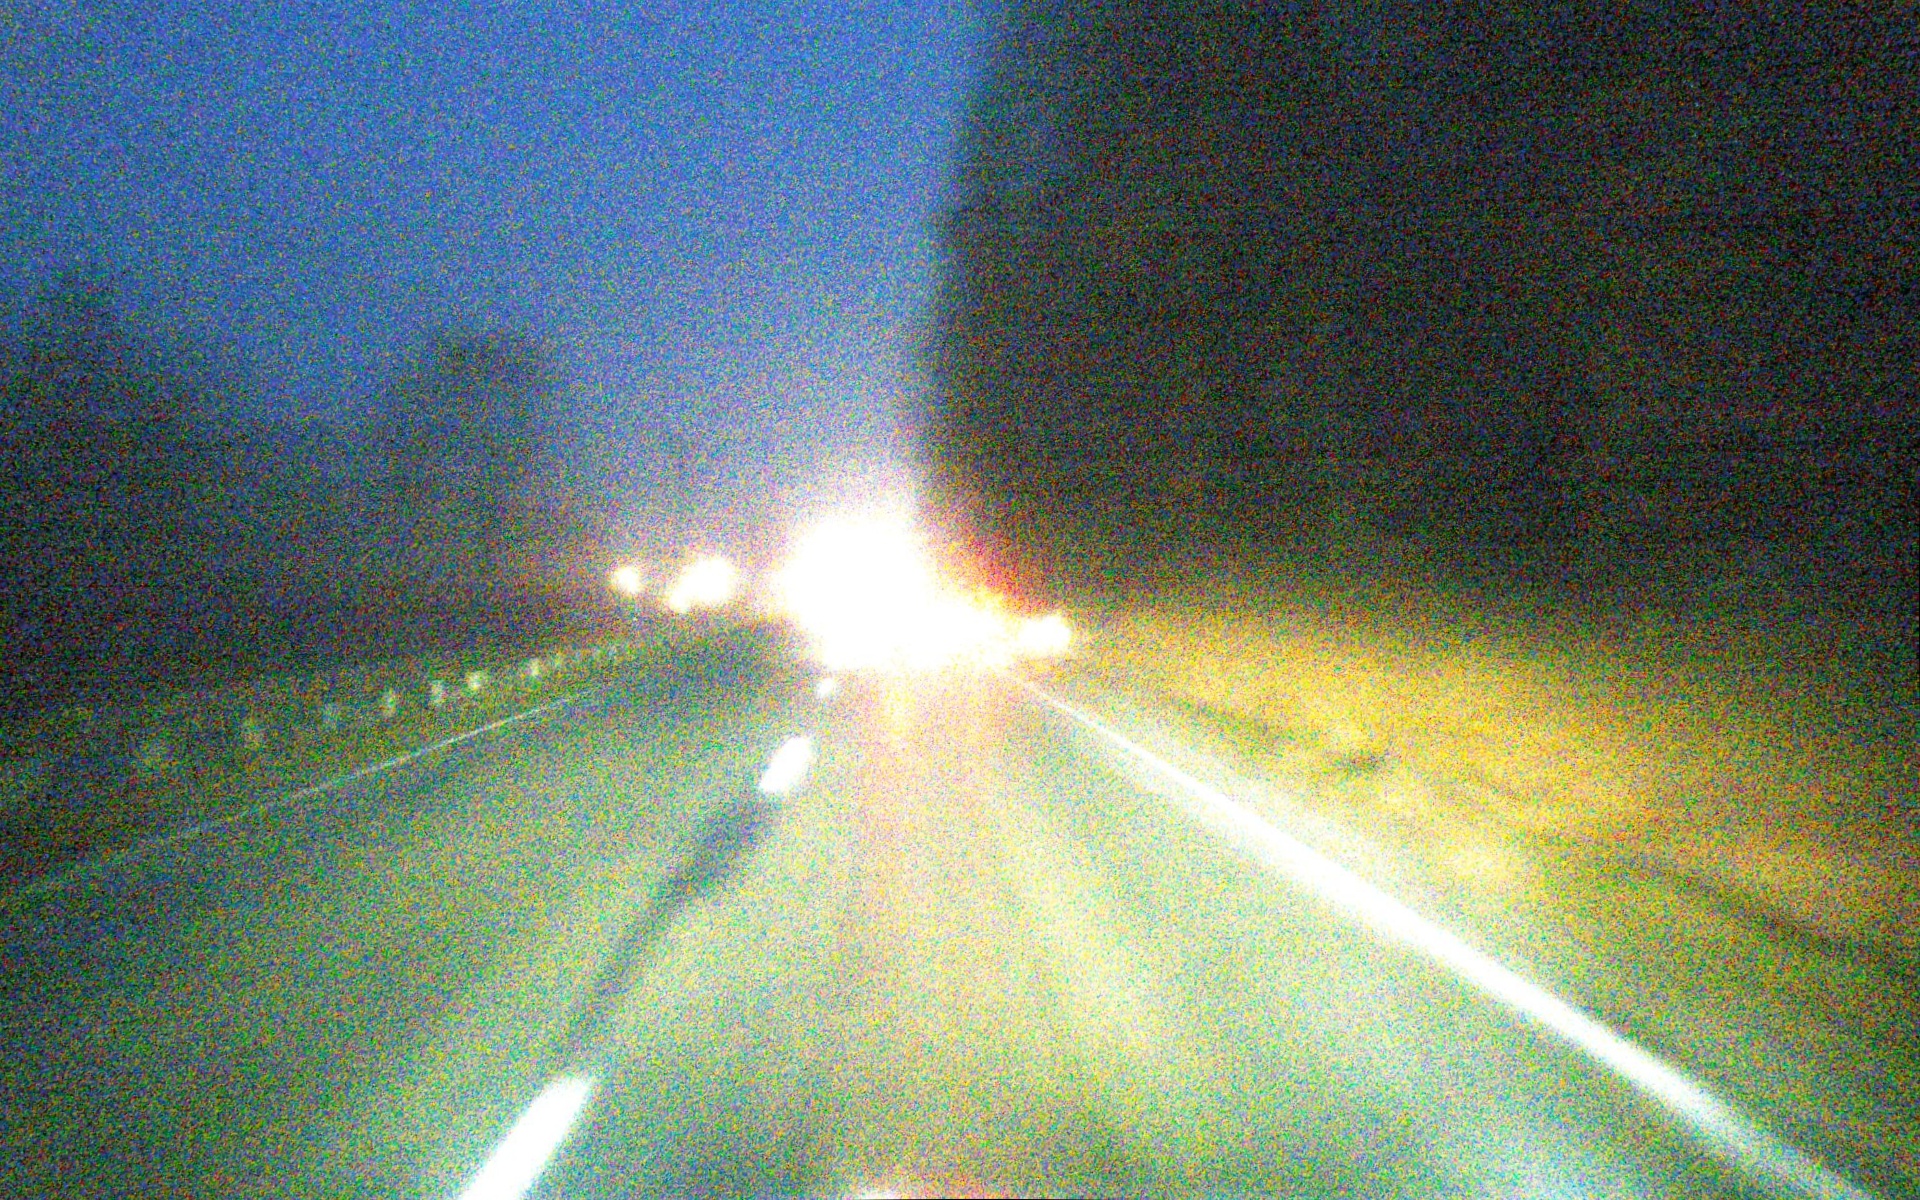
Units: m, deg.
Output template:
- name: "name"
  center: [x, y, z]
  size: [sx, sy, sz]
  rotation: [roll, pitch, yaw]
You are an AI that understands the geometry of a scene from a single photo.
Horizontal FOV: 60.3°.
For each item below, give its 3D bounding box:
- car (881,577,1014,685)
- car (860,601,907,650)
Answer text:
- name: "car"
  center: [-0.340, 0.596, 33.164]
  size: [2.409, 1.993, 4.908]
  rotation: [0, 0, -4]
- name: "car"
  center: [-3.320, 1.100, 71.373]
  size: [1.954, 2.049, 3.997]
  rotation: [1, -1, -3]
